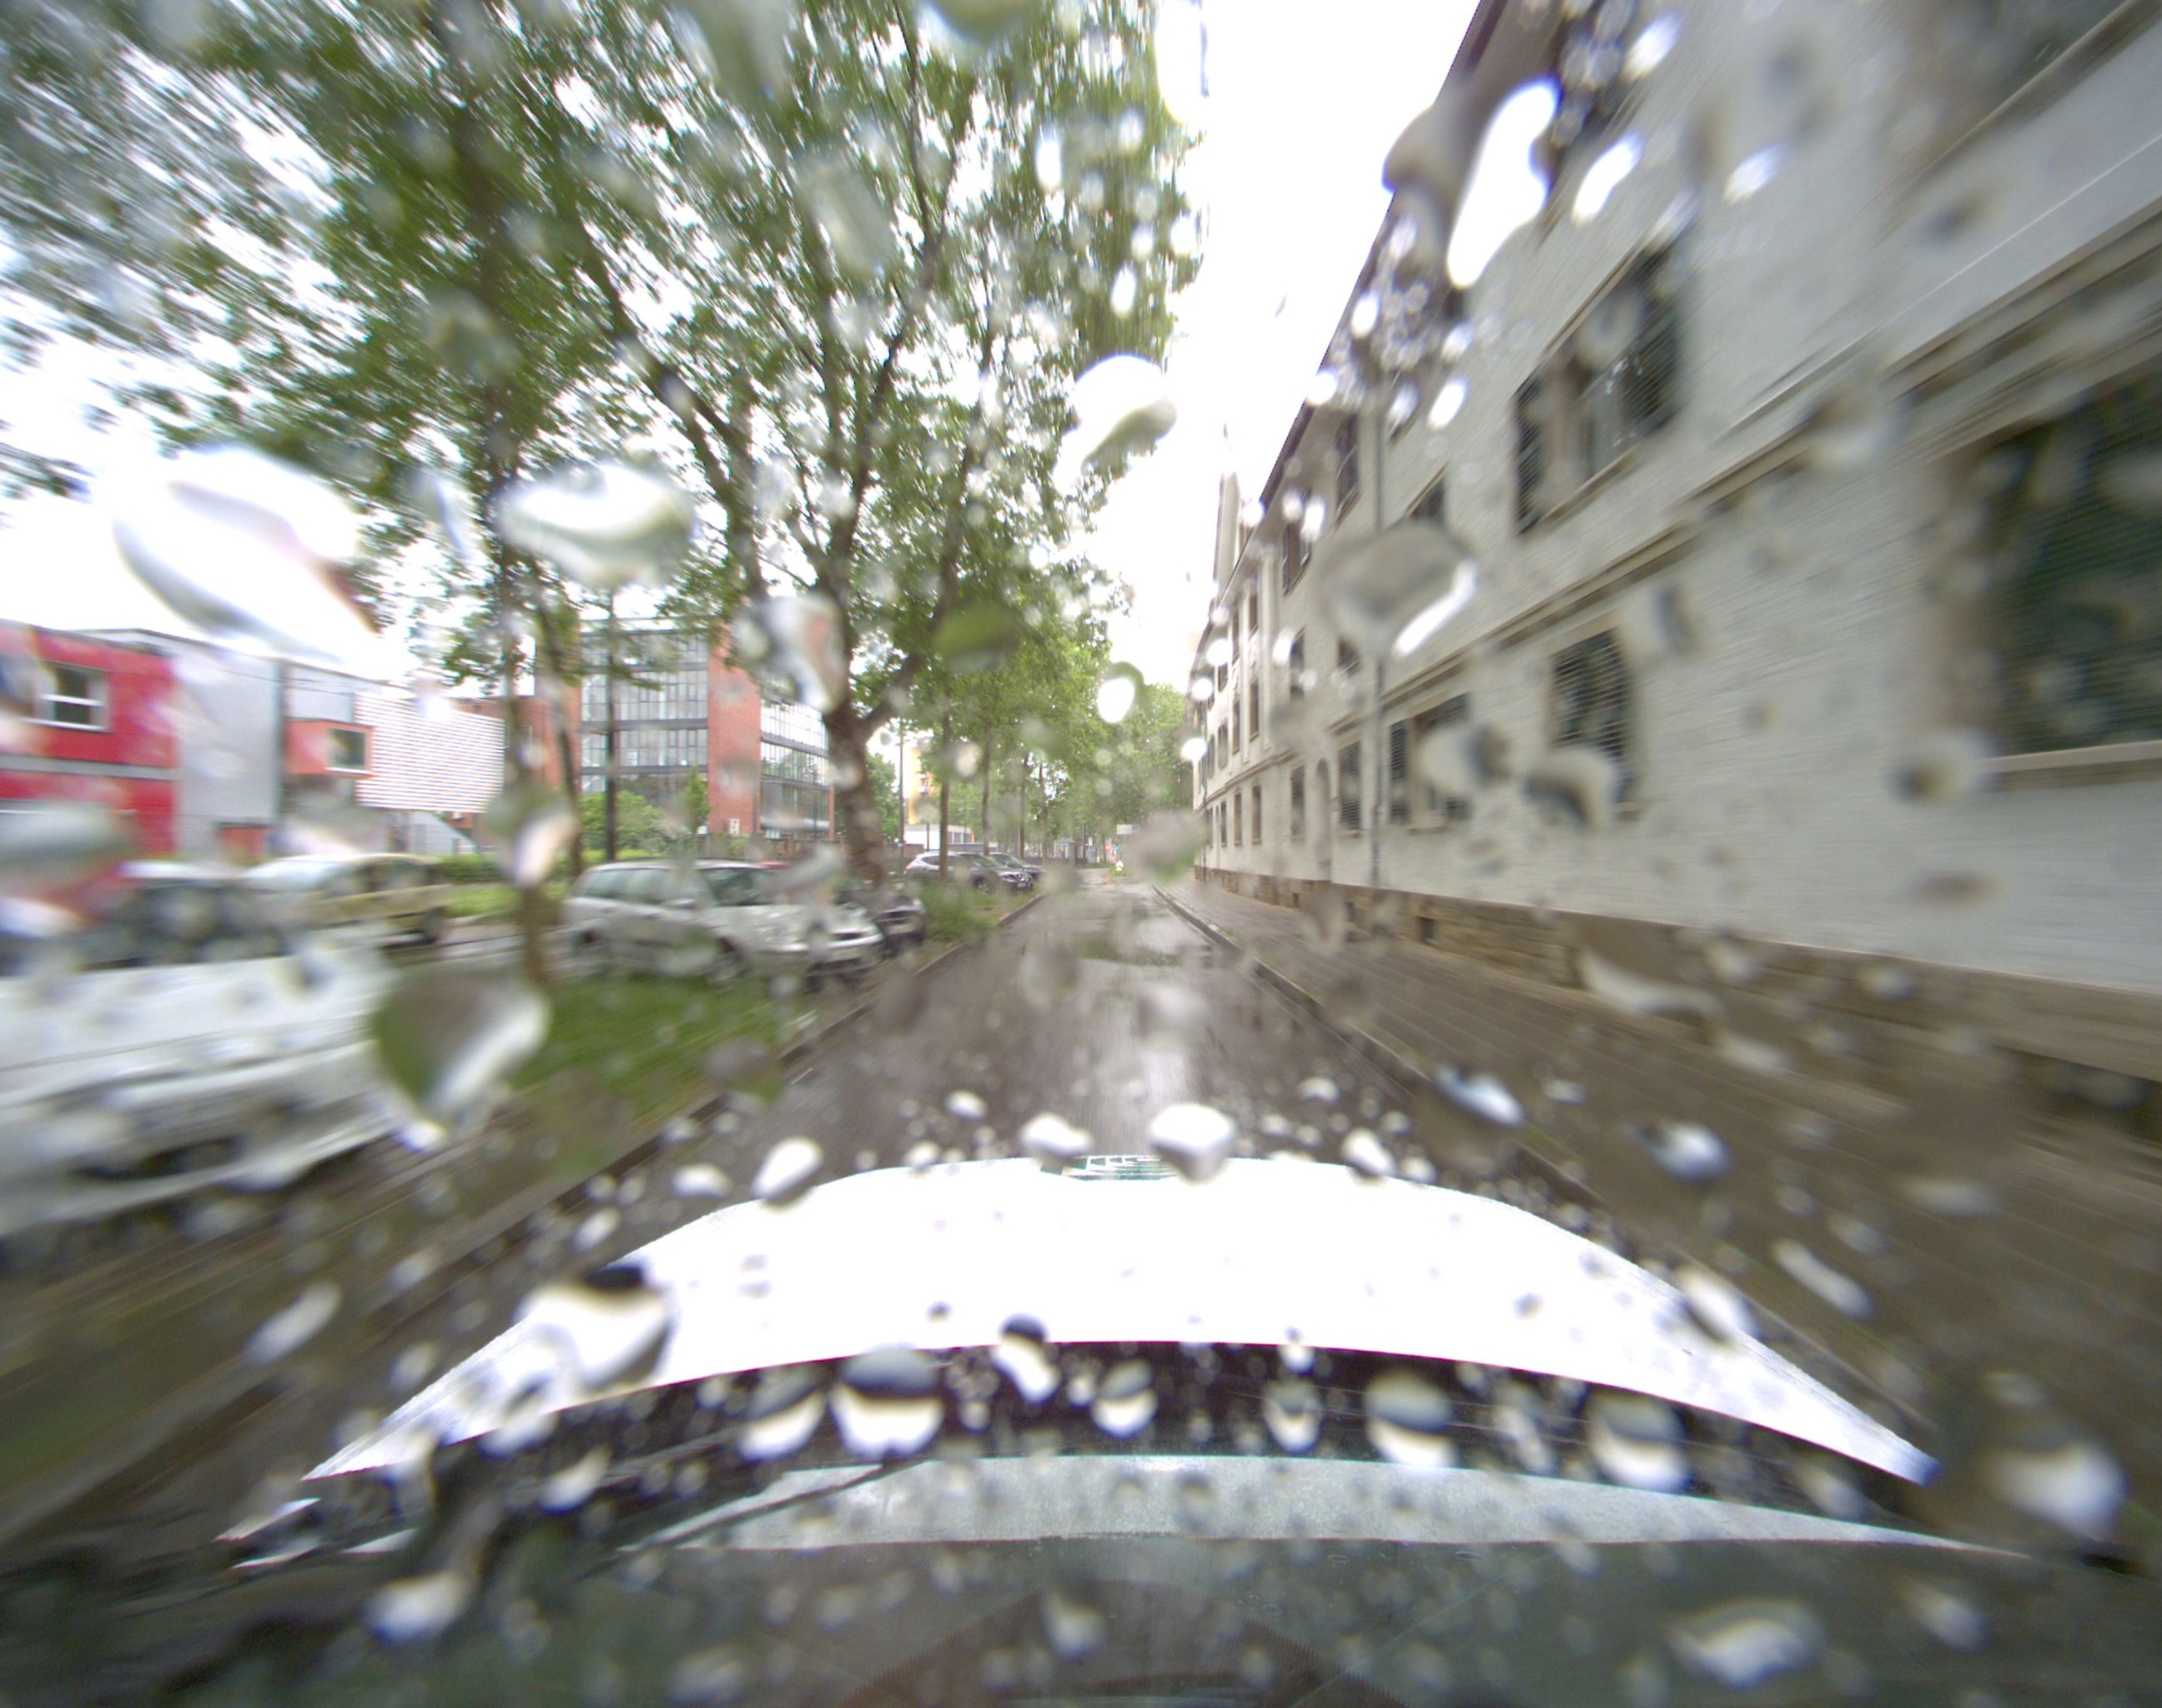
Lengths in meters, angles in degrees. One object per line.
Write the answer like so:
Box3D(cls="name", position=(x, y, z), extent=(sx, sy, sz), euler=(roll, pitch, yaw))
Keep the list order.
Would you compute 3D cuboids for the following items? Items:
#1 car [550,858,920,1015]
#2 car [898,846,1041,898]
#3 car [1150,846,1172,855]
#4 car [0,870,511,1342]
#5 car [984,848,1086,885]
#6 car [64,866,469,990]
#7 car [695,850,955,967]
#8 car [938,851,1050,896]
Box3D(cls="car", position=(-4.263, 0.852, 9.812), extent=(4.502, 1.482, 1.786), euler=(-2, 0, 31))
Box3D(cls="car", position=(-3.726, 0.534, 27.113), extent=(4.416, 1.597, 1.935), euler=(0, 1, 28))
Box3D(cls="car", position=(15.096, -0.582, 153.404), extent=(4.020, 1.597, 1.976), euler=(1, -1, -41))
Box3D(cls="car", position=(-4.775, 0.873, 4.147), extent=(3.737, 1.482, 1.733), euler=(-2, 0, 32))
Box3D(cls="car", position=(-2.148, 0.603, 37.822), extent=(4.308, 1.512, 1.973), euler=(-2, 2, 33))
Box3D(cls="car", position=(-11.763, 0.959, 12.252), extent=(1.986, 1.508, 4.002), euler=(-1, 0, 2))
Box3D(cls="car", position=(-3.950, 0.752, 12.429), extent=(3.768, 1.521, 1.733), euler=(-2, 0, 32))
Box3D(cls="car", position=(-3.759, 0.851, 34.958), extent=(4.473, 1.714, 1.973), euler=(-2, 2, 33))
